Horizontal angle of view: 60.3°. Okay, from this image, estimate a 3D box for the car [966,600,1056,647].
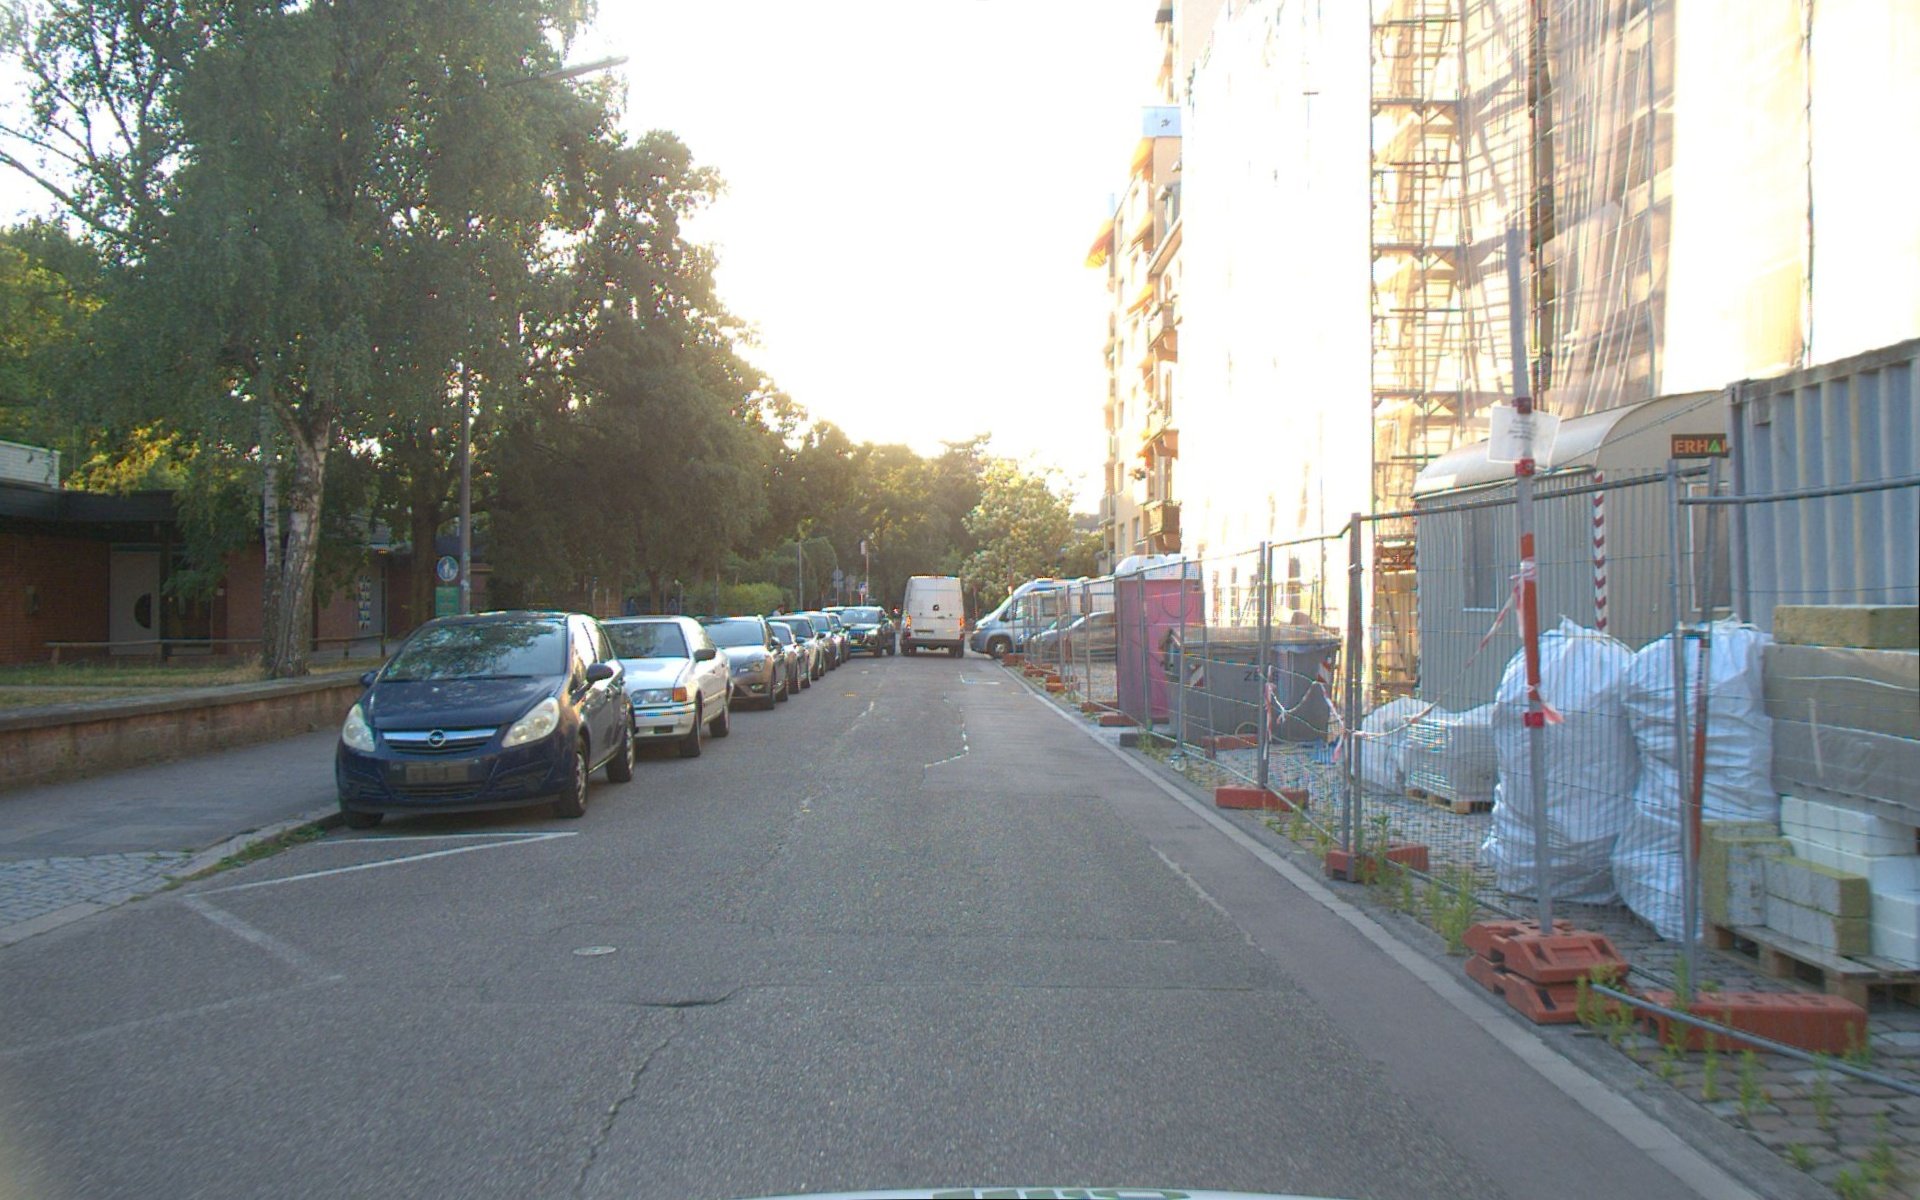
[{"bbox_3d":[2.575,1.186,84.342,4.405,2.269,2.031,1,-1,-2],"label":"car"}]

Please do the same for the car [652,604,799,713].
[{"bbox_3d":[-3.690,0.888,26.807,1.822,1.565,4.756,-1,-1,-2],"label":"car"}]

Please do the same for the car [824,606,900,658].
[{"bbox_3d":[-3.157,1.034,54.223,1.766,1.597,4.568,0,-1,6],"label":"car"}]

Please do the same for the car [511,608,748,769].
[{"bbox_3d":[-3.483,0.869,18.294,1.746,1.471,4.746,-2,-1,-2],"label":"car"}]

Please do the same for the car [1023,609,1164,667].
[{"bbox_3d":[3.976,1.133,49.712,3.910,1.542,2.017,-2,0,-6],"label":"car"}]

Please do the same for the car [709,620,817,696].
[{"bbox_3d":[-3.761,1.075,32.090,1.625,1.336,4.153,-1,-1,-1],"label":"car"}]

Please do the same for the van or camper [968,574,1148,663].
[{"bbox_3d":[3.229,0.626,55.344,5.809,2.818,2.108,1,-1,-2],"label":"van or camper"}]

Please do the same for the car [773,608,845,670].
[{"bbox_3d":[-3.995,1.016,44.254,1.681,1.522,4.358,-1,-1,-2],"label":"car"}]

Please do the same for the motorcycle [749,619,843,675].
[{"bbox_3d":[-4.062,1.146,41.057,2.118,1.326,0.880,1,-1,13],"label":"motorcycle"}]

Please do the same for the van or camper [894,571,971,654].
[{"bbox_3d":[-0.932,0.443,56.691,2.404,2.591,6.081,2,-1,-1],"label":"van or camper"}]

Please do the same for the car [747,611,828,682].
[{"bbox_3d":[-3.902,1.033,37.847,1.569,1.456,3.801,-2,-1,-3],"label":"car"}]

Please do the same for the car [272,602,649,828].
[{"bbox_3d":[-3.649,0.775,12.873,1.954,1.478,3.996,1,0,-4],"label":"car"}]

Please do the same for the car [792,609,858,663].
[{"bbox_3d":[-3.994,1.052,49.409,1.603,1.504,3.992,-1,-1,0],"label":"car"}]

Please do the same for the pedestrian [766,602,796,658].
[{"bbox_3d":[-6.027,1.019,55.703,0.919,1.862,0.786,1,-1,-3],"label":"pedestrian"}]
